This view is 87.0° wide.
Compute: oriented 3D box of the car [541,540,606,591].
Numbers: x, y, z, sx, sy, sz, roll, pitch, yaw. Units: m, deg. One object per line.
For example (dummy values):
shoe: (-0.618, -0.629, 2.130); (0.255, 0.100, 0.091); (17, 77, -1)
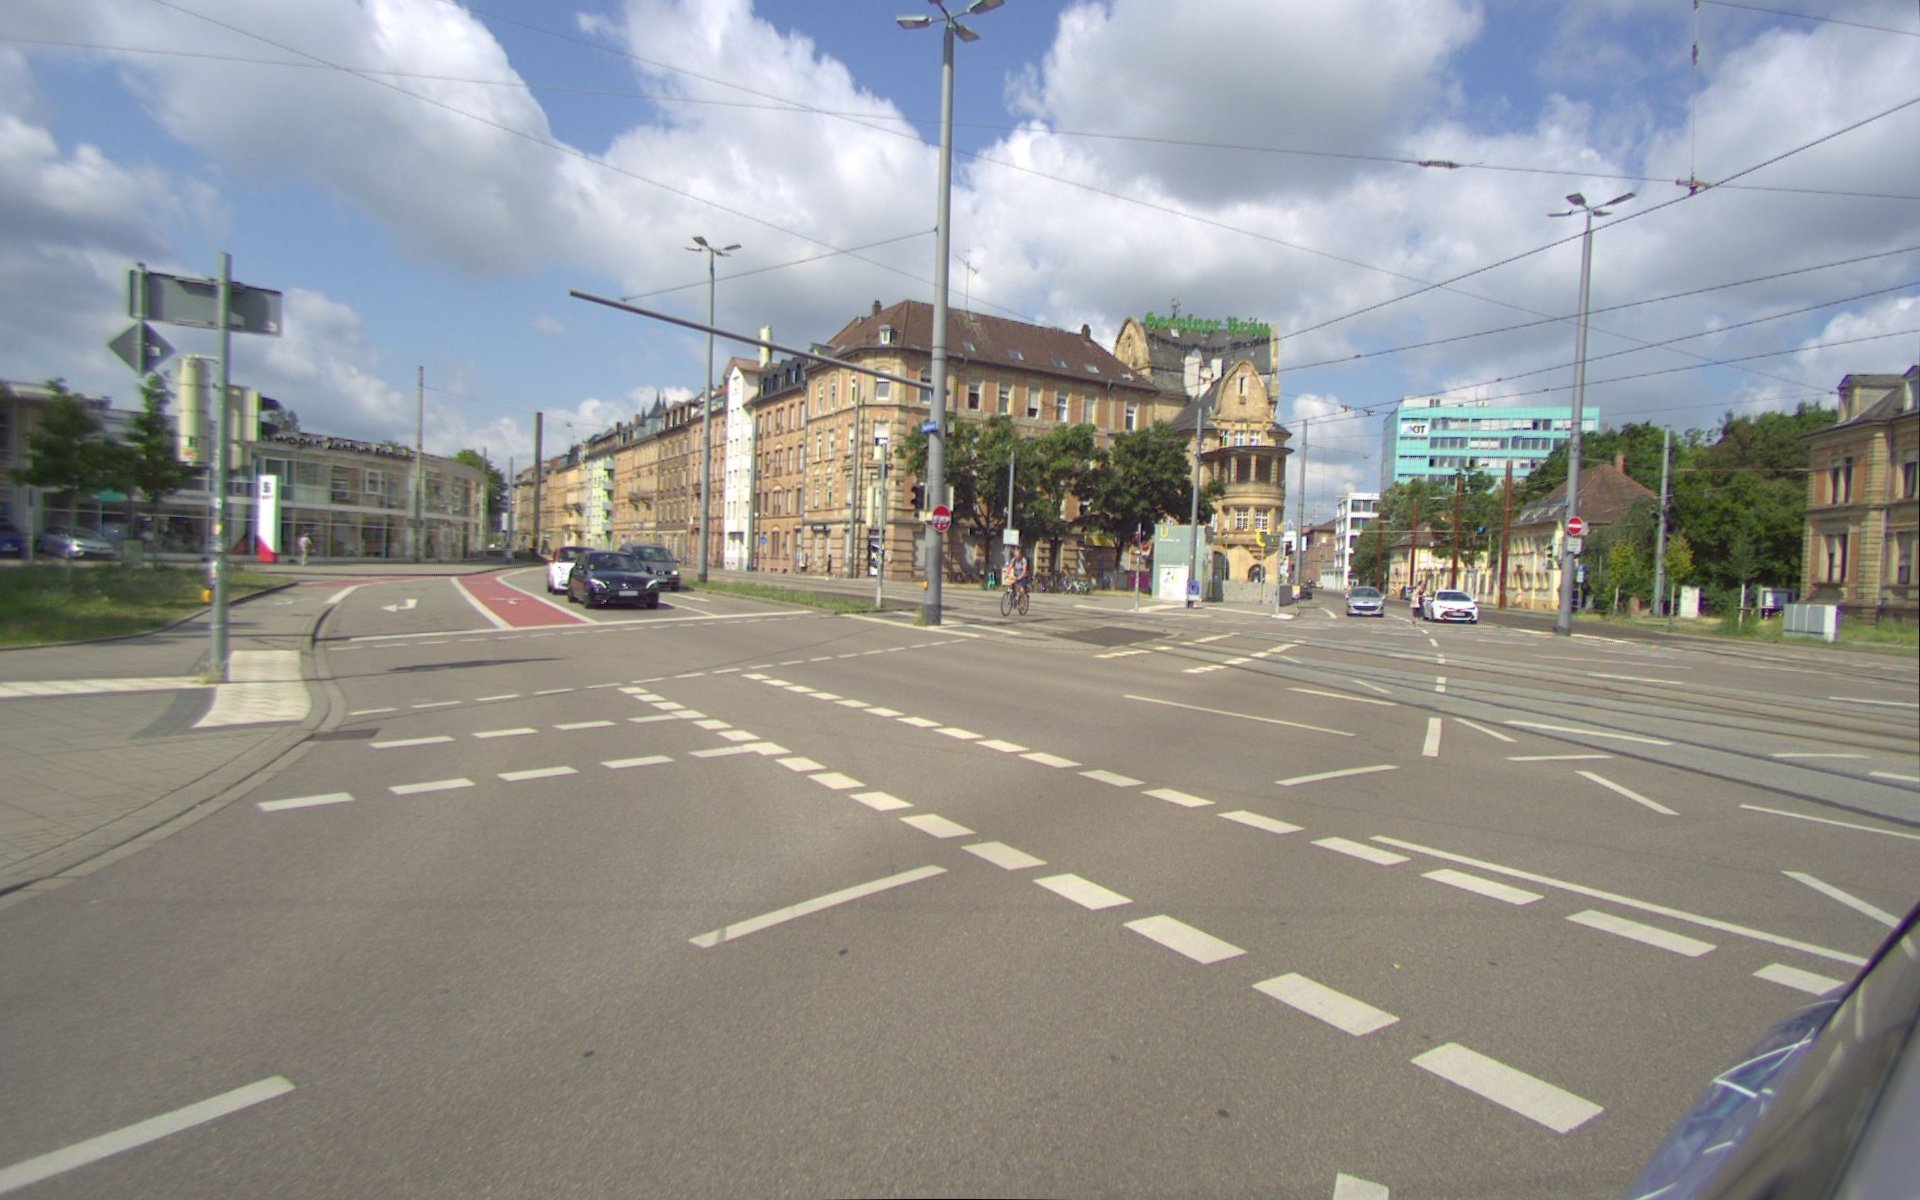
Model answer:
car: (-12.634, -1.108, 32.975); (1.656, 1.488, 3.663); (3, 0, -25)

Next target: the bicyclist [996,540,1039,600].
bicyclist: (1.716, -0.884, 30.162); (1.129, 1.695, 0.614); (3, 0, -43)

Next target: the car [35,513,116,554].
car: (-40.994, -3.100, 46.900); (3.975, 1.704, 1.910); (3, 0, 35)

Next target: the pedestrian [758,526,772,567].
pedestrian: (-15.107, -4.123, 78.376); (0.712, 3.114, 0.890); (3, 0, -22)

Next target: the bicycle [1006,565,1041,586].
bicycle: (3.846, -1.500, 61.278); (0.746, 1.180, 2.689); (1, 2, -29)

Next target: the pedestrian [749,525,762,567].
pedestrian: (-15.778, -4.182, 78.130); (0.654, 3.160, 0.890); (3, 0, -22)

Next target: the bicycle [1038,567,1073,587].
bicycle: (5.833, -1.440, 62.116); (0.746, 1.180, 2.689); (3, 0, -28)

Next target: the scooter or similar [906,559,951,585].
scooter or similar: (-1.846, -1.646, 58.545); (1.158, 1.403, 2.804); (3, 0, -37)

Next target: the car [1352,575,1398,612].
car: (20.359, -0.279, 49.613); (1.820, 1.616, 3.964); (3, 0, 25)

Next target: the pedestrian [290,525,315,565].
pedestrian: (-34.759, -2.905, 53.488); (0.698, 2.038, 0.862); (3, 2, 32)

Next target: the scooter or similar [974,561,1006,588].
scooter or similar: (1.786, -1.503, 60.436); (0.863, 1.500, 2.017); (1, 3, -31)

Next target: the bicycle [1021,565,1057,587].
bicycle: (4.786, -1.487, 61.701); (0.746, 1.180, 2.689); (3, 1, -29)

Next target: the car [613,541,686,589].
car: (-11.341, -1.289, 36.818); (1.958, 1.593, 3.745); (2, 2, -25)

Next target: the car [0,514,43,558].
car: (-41.440, -2.811, 43.769); (3.980, 1.747, 1.972); (3, 0, 38)

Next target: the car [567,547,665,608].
car: (-9.047, -0.633, 26.405); (1.832, 1.393, 3.948); (2, 2, -27)

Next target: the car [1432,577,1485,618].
car: (21.852, -0.077, 44.487); (1.937, 1.616, 4.466); (3, 0, 25)

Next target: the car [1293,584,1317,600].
car: (35.380, -0.813, 103.916); (1.842, 1.401, 3.984); (3, 0, 13)

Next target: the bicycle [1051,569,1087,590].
bicycle: (6.717, -1.266, 62.571); (0.746, 1.180, 2.689); (1, 2, -29)

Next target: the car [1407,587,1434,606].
car: (55.086, -0.408, 121.173); (1.969, 2.039, 3.986); (3, 0, 11)

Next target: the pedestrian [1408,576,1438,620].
pedestrian: (16.443, -0.072, 35.966); (0.727, 1.534, 0.546); (2, 2, -23)

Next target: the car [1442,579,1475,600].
car: (50.731, -1.042, 103.090); (1.969, 2.039, 3.986); (3, 0, 11)

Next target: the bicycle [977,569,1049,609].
bicycle: (1.590, -0.326, 30.191); (2.160, 1.083, 0.876); (3, 0, -44)

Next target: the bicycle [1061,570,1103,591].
bicycle: (7.575, -1.241, 62.989); (2.676, 1.180, 0.749); (3, 0, 43)
